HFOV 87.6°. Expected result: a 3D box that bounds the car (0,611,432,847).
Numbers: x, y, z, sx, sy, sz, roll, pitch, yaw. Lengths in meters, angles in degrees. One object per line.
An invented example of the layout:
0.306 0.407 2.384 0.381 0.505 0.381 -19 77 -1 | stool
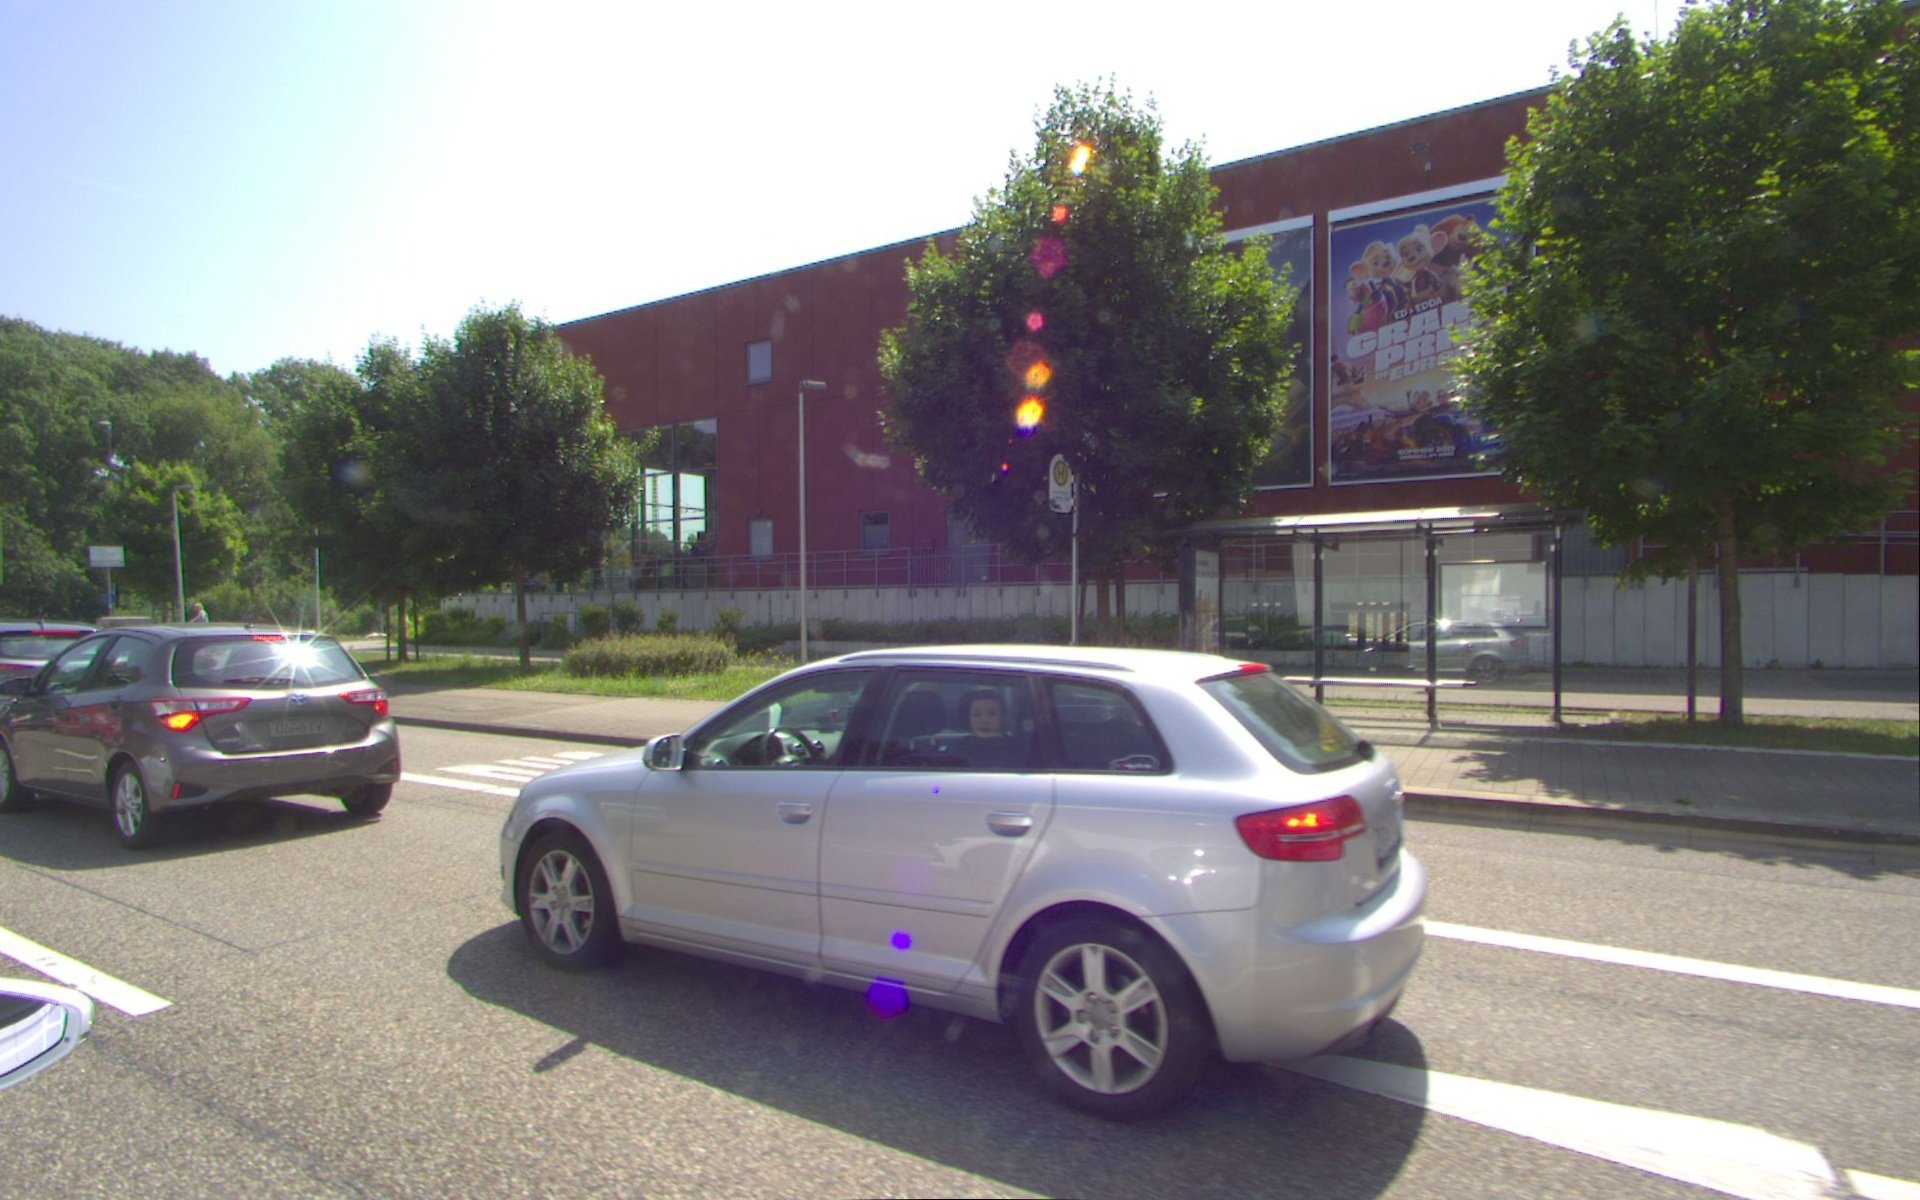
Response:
-6.320 0.890 8.136 4.031 1.496 1.711 -1 -4 31 | car

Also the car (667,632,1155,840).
-0.525 1.013 8.766 4.086 1.388 1.635 0 -2 33 | car

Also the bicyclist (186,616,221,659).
-26.478 1.304 35.052 0.592 1.458 0.822 0 1 40 | bicyclist

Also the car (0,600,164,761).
-11.105 0.836 11.545 4.031 1.614 1.709 -1 -1 31 | car

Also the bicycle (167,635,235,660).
-26.521 1.653 35.016 0.594 0.776 1.813 0 0 40 | bicycle

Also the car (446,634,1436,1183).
-0.223 0.860 4.363 4.031 1.379 1.710 -1 -2 31 | car
